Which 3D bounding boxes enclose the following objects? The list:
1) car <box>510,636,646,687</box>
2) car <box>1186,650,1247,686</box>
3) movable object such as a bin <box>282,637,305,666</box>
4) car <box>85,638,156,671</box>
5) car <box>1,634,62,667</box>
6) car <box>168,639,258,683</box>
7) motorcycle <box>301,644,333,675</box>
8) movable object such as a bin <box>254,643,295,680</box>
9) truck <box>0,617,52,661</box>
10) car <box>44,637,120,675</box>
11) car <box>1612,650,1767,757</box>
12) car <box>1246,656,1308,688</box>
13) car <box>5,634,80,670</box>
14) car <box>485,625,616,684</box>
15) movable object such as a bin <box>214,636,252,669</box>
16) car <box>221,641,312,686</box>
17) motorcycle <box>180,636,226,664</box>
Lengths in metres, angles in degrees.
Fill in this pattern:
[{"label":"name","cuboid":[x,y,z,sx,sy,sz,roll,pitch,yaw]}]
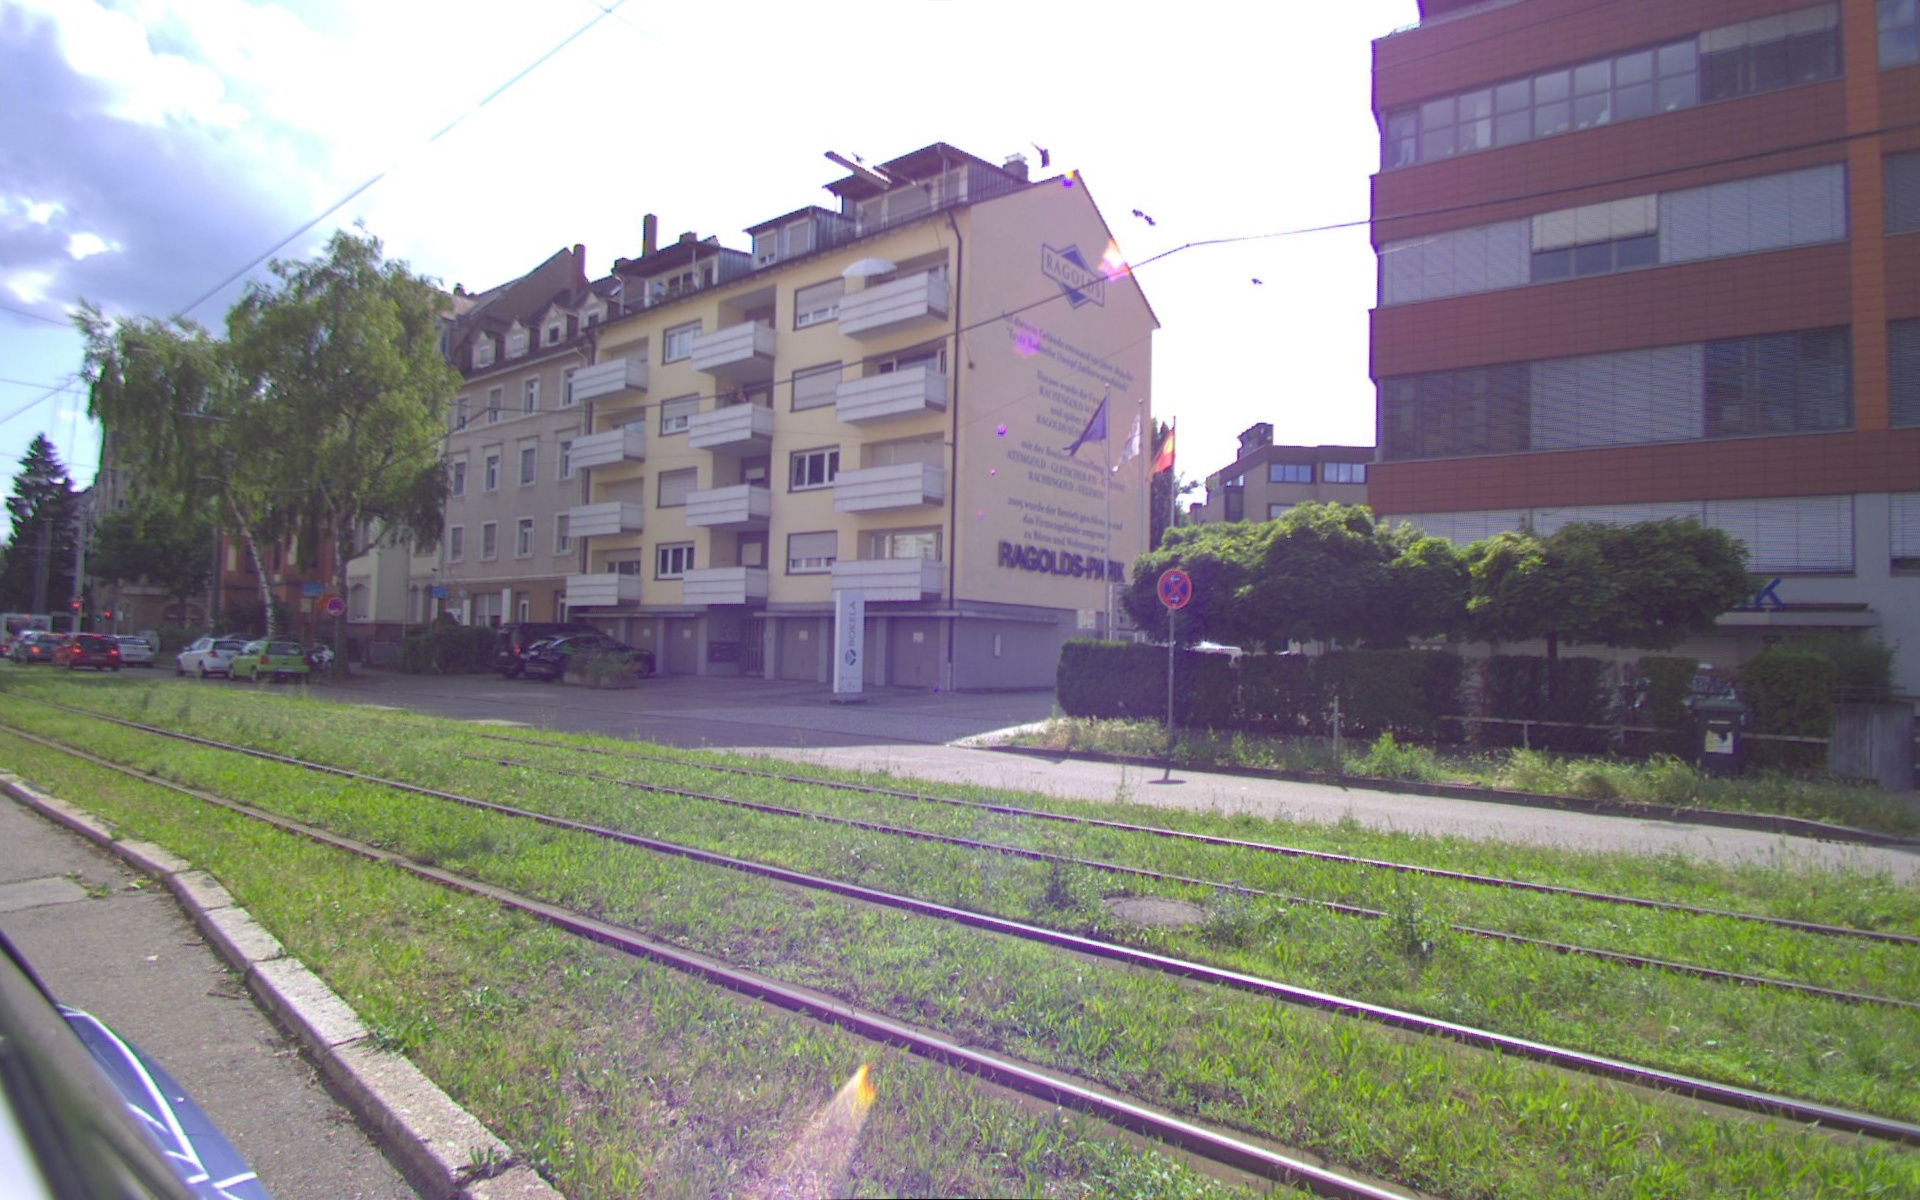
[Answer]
[{"label":"car","cuboid":[-13.050,2.050,34.745,1.970,1.614,3.948,-1,-2,38]},{"label":"car","cuboid":[13.846,3.683,54.840,1.743,1.827,4.007,2,-3,-9]},{"label":"movable object such as a bin","cuboid":[-31.935,2.476,48.518,0.697,1.372,0.667,-1,-4,35]},{"label":"car","cuboid":[-38.506,2.494,46.399,3.991,1.366,1.737,-1,-5,40]},{"label":"car","cuboid":[-44.788,2.430,48.808,4.133,1.425,1.736,-1,-6,43]},{"label":"car","cuboid":[-28.126,2.280,38.063,4.221,1.489,1.628,-1,-6,39]},{"label":"motorcycle","cuboid":[-24.057,2.213,37.841,1.630,1.050,0.494,0,0,38]},{"label":"movable object such as a bin","cuboid":[-27.530,2.459,40.629,1.519,1.441,0.942,-1,-2,38]},{"label":"truck","cuboid":[-51.674,2.118,55.410,6.611,2.231,2.161,-2,-5,43]},{"label":"car","cuboid":[-34.576,2.176,39.826,3.688,1.397,1.563,-1,-5,39]},{"label":"car","cuboid":[12.784,1.739,17.863,1.995,1.608,3.952,-1,-4,35]},{"label":"car","cuboid":[18.010,4.083,57.710,1.743,1.708,4.007,2,-3,-9]},{"label":"car","cuboid":[-40.161,2.255,44.258,4.508,1.366,1.737,-1,-6,40]},{"label":"car","cuboid":[-14.803,1.922,36.697,1.936,2.029,3.945,-2,-2,41]},{"label":"movable object such as a bin","cuboid":[-32.337,2.314,45.030,1.519,1.377,0.942,-1,1,38]},{"label":"car","cuboid":[-23.981,2.186,34.972,3.610,1.443,1.578,-1,-5,39]},{"label":"motorcycle","cuboid":[-34.779,2.285,46.477,2.287,1.252,0.893,-1,-4,33]}]
